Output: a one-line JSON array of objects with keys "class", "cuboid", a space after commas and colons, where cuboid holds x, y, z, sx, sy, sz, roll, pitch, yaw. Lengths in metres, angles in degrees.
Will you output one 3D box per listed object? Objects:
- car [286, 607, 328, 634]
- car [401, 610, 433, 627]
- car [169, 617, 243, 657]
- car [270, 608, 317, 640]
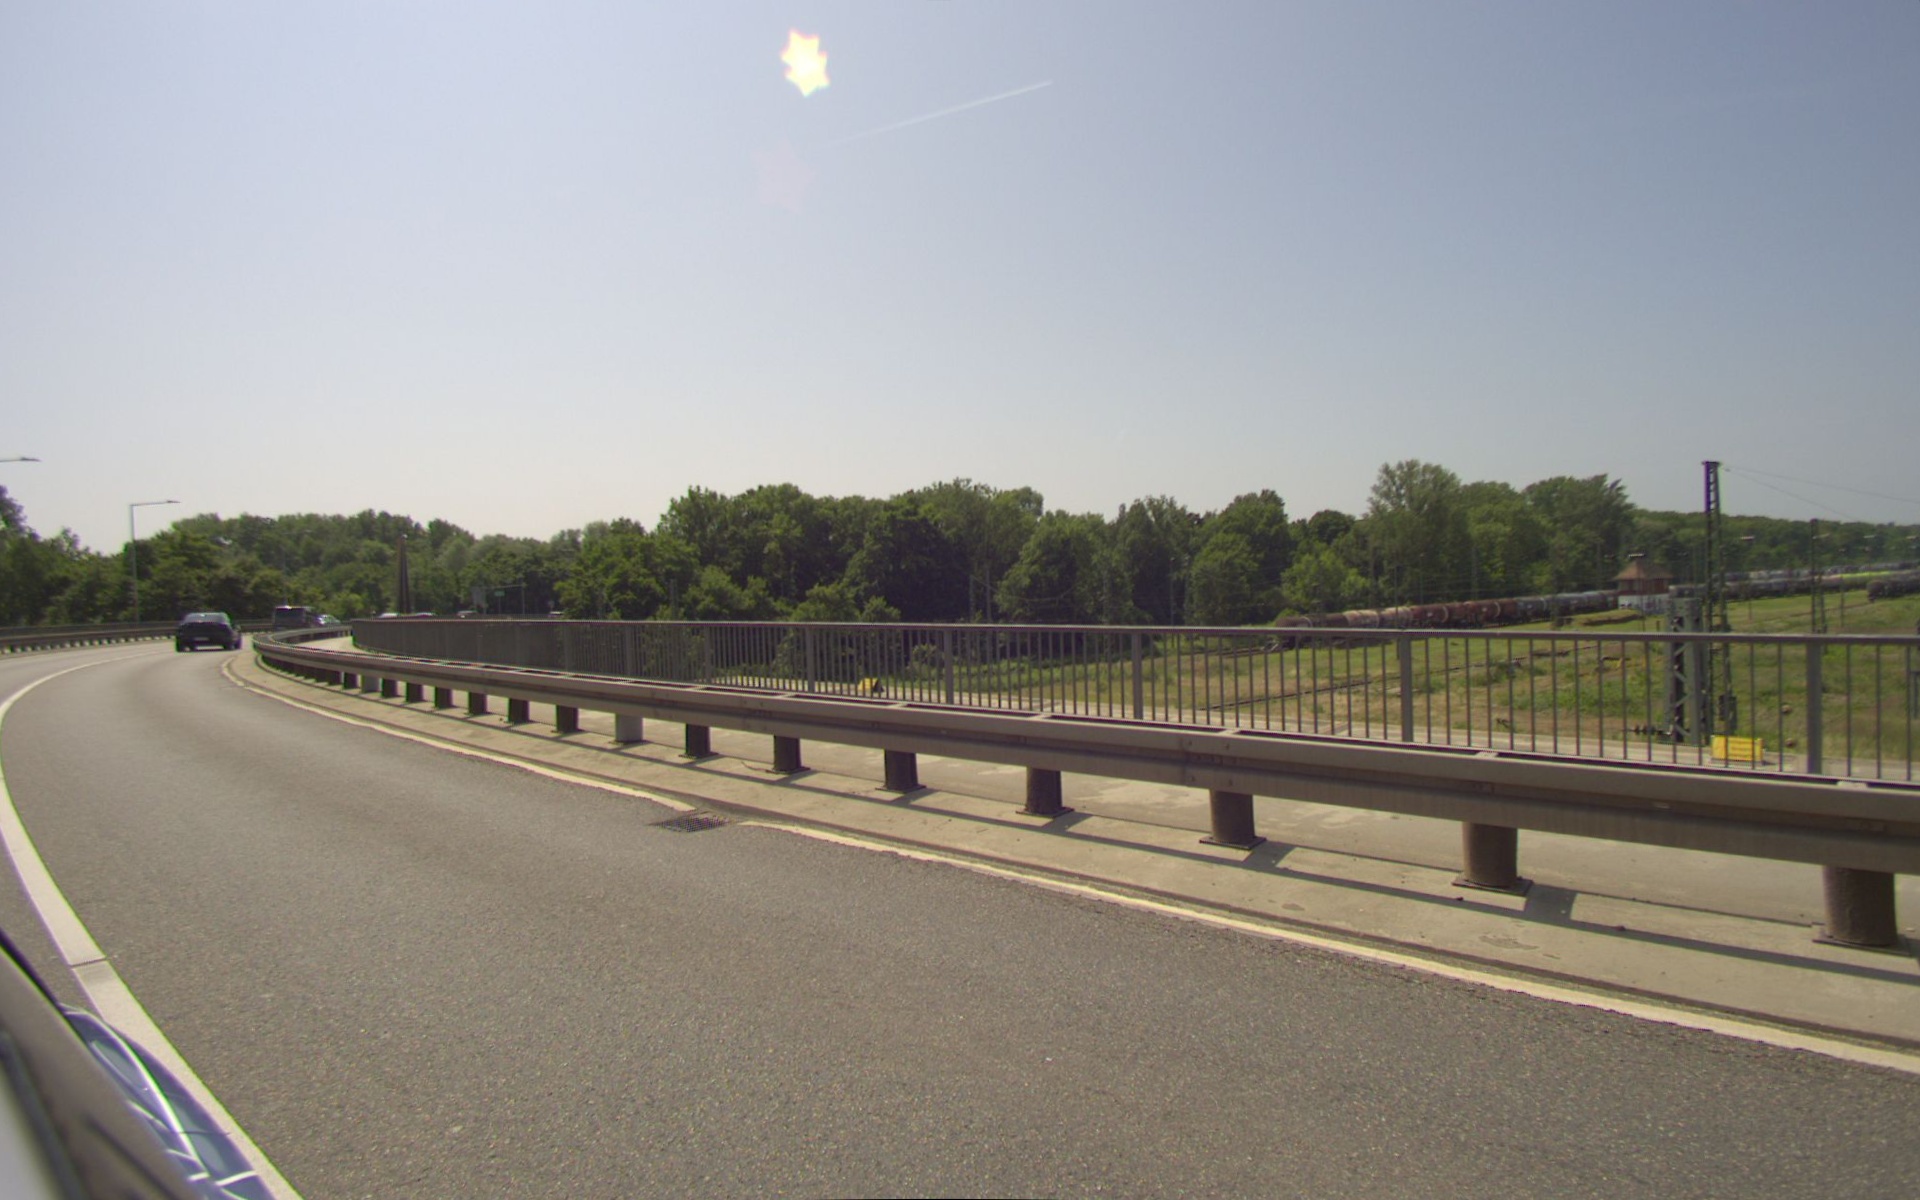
[{"class": "car", "cuboid": [-51.266, 1.599, 79.553, 1.965, 2.029, 4.013, -1, -1, -21]}, {"class": "car", "cuboid": [-48.063, 1.630, 89.593, 1.642, 1.475, 3.495, -1, -1, -14]}, {"class": "car", "cuboid": [-33.342, 1.617, 44.864, 1.866, 1.608, 4.501, -1, -1, -27]}, {"class": "car", "cuboid": [-43.143, 1.497, 65.605, 1.978, 1.973, 5.288, 0, 0, -27]}]
